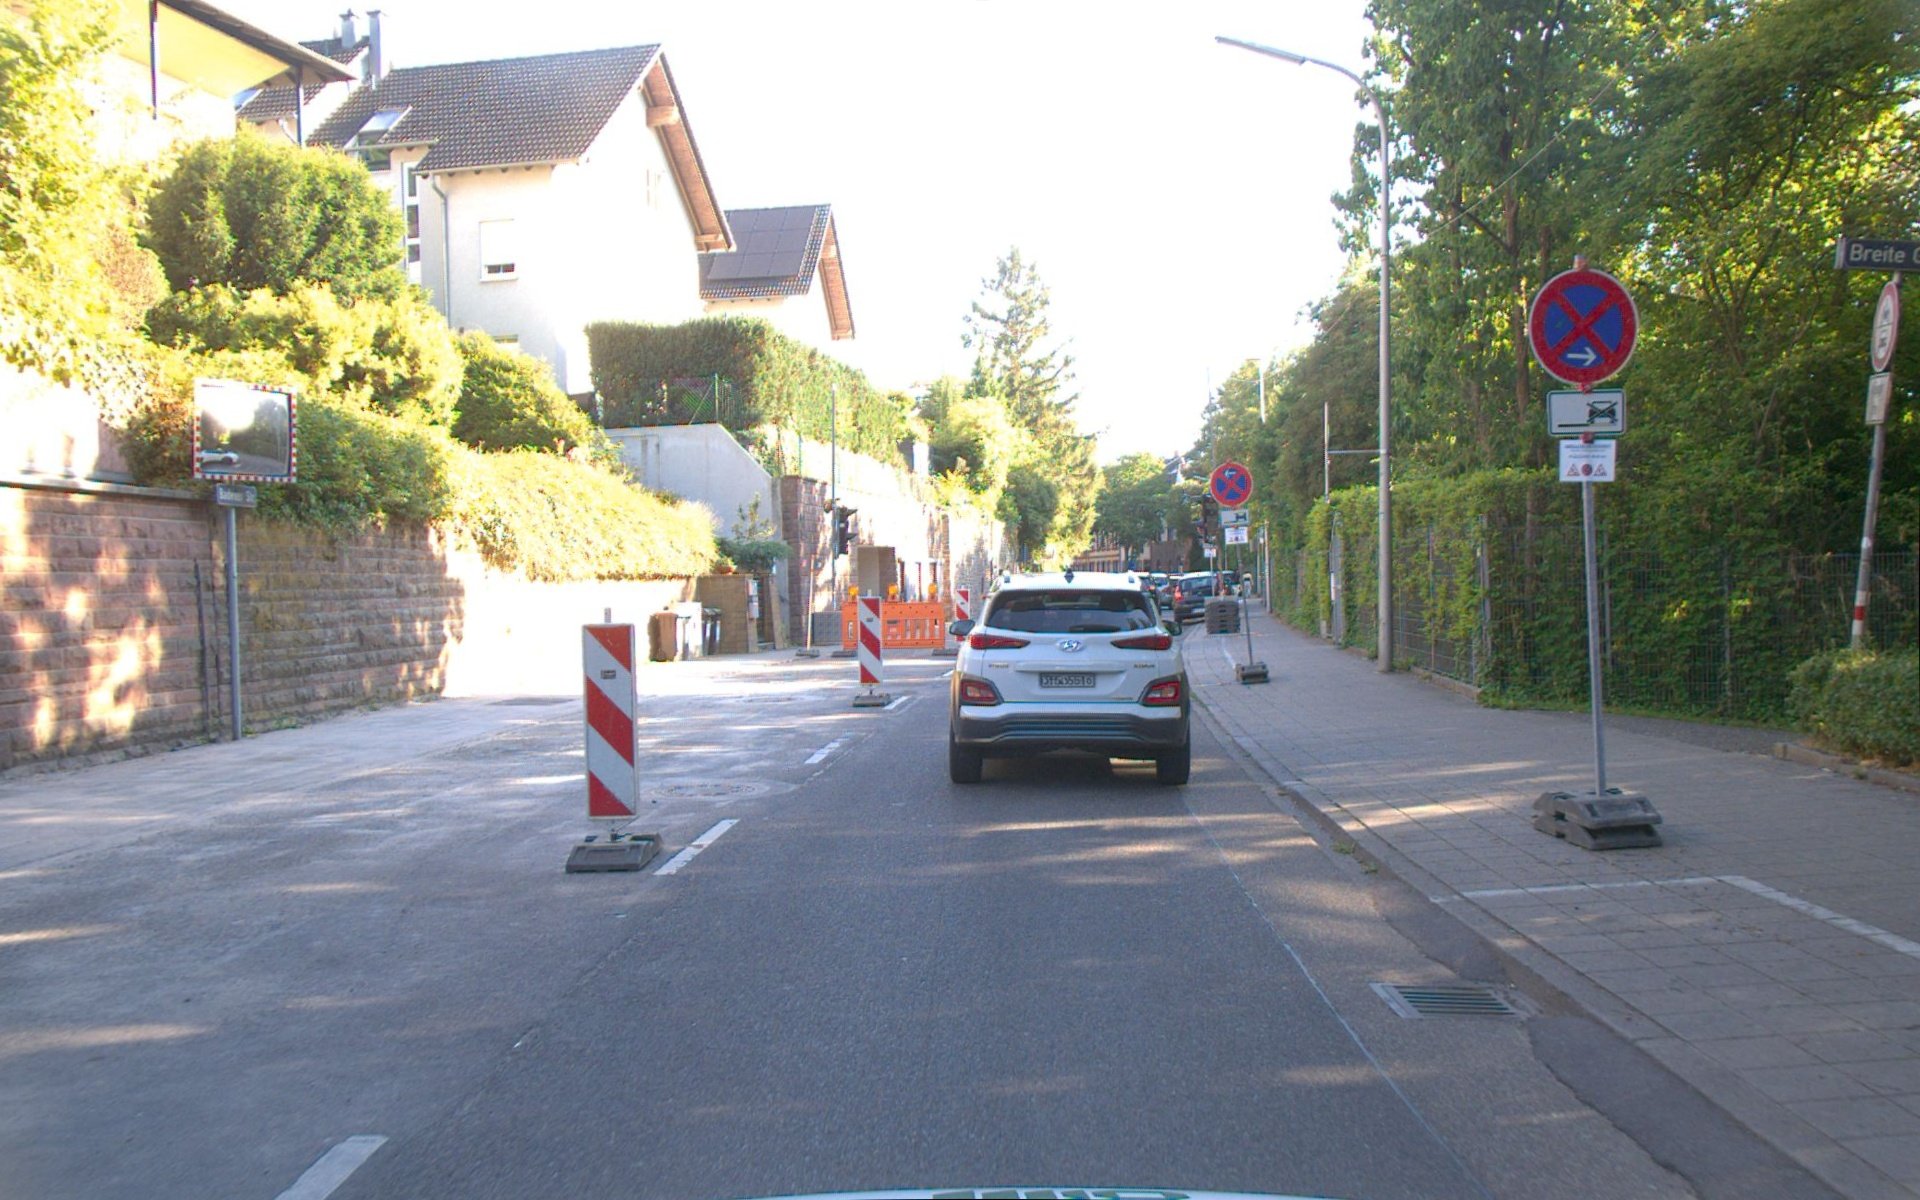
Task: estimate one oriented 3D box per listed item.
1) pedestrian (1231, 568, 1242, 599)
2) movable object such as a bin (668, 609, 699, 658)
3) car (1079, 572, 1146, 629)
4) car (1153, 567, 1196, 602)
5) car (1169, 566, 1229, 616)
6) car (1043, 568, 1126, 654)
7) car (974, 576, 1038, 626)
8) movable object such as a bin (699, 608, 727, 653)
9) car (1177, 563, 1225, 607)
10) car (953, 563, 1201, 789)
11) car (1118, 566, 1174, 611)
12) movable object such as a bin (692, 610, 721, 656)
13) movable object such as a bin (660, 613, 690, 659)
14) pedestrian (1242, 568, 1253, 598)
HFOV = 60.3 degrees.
[{"bbox_3d":[15.110,-0.887,90.364,0.492,1.634,0.492,-4,0,10],"label":"pedestrian"},{"bbox_3d":[-5.297,0.638,31.650,0.446,0.899,0.501,0,1,8],"label":"movable object such as a bin"},{"bbox_3d":[4.210,-0.010,45.355,1.537,1.503,3.551,0,1,10],"label":"car"},{"bbox_3d":[9.771,-0.721,75.156,1.657,1.472,3.885,-1,1,11],"label":"car"},{"bbox_3d":[7.529,-0.313,51.888,1.756,1.466,4.004,-1,1,9],"label":"car"},{"bbox_3d":[2.503,0.182,32.621,1.480,1.559,3.550,-2,1,6],"label":"car"},{"bbox_3d":[1.490,0.004,52.055,1.592,1.446,3.566,-2,0,8],"label":"car"},{"bbox_3d":[-5.034,0.627,33.718,0.446,0.899,0.501,0,1,8],"label":"movable object such as a bin"},{"bbox_3d":[9.046,-0.576,61.945,1.617,1.591,2.875,-1,1,11],"label":"car"},{"bbox_3d":[0.978,0.509,13.572,1.735,1.569,4.002,0,1,5],"label":"car"},{"bbox_3d":[6.884,-0.439,60.830,1.657,1.559,3.885,-1,1,12],"label":"car"},{"bbox_3d":[-5.084,0.654,33.192,0.446,0.899,0.501,0,1,8],"label":"movable object such as a bin"},{"bbox_3d":[-5.367,0.673,31.184,0.444,0.848,0.392,-1,0,8],"label":"movable object such as a bin"},{"bbox_3d":[15.662,-0.908,90.230,0.492,1.596,0.504,-4,0,10],"label":"pedestrian"}]
